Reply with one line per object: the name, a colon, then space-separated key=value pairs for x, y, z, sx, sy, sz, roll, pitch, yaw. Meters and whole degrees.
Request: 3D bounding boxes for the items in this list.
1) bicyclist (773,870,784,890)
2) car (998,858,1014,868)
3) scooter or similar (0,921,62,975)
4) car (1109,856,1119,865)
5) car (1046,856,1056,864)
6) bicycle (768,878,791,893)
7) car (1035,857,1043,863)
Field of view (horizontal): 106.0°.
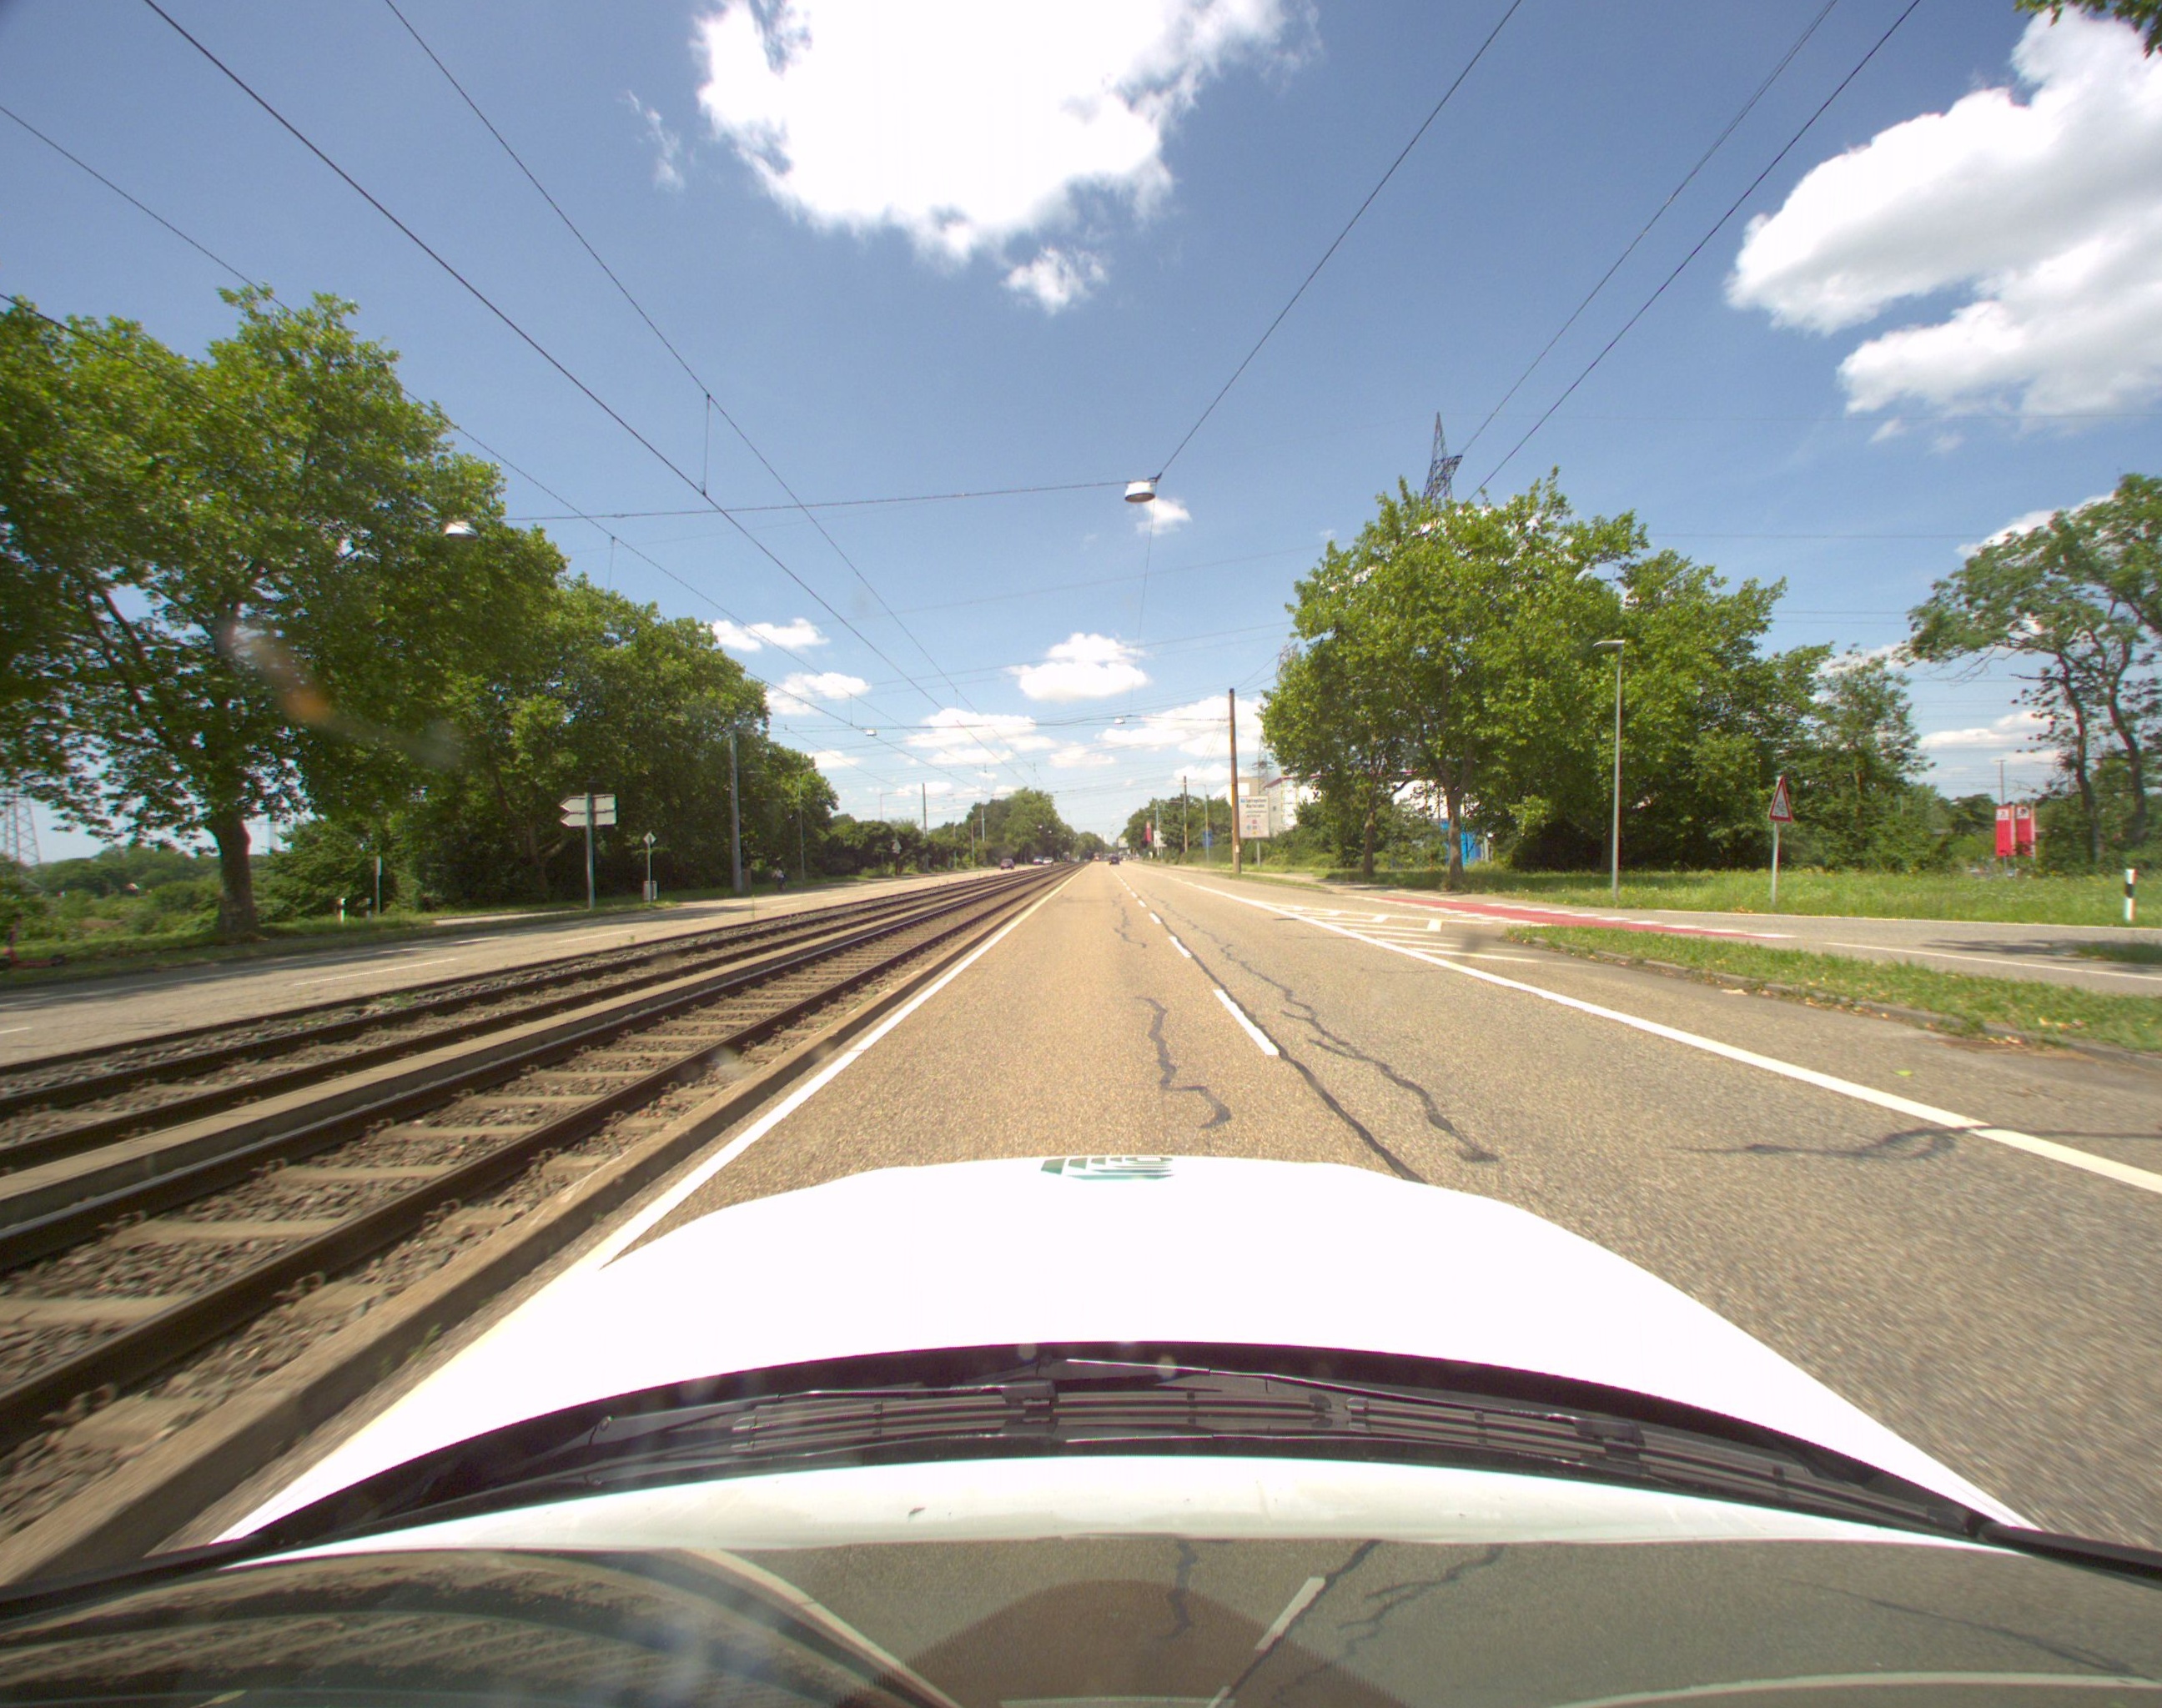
bicyclist: x=-18.943 y=1.622 z=51.011 sx=0.452 sy=1.272 sz=0.398 roll=-2 pitch=0 yaw=3
car: x=-11.317 y=1.393 z=123.341 sx=1.868 sy=1.332 sz=3.919 roll=-3 pitch=0 yaw=2
scooter or similar: x=-22.119 y=1.954 z=17.027 sx=0.297 sy=1.022 sz=0.999 roll=1 pitch=0 yaw=9
car: x=5.712 y=1.120 z=142.015 sx=1.581 sy=1.343 sz=3.272 roll=-2 pitch=1 yaw=0
car: x=-6.103 y=1.242 z=163.489 sx=1.709 sy=1.428 sz=3.902 roll=-2 pitch=0 yaw=2
bicycle: x=-18.917 y=1.987 z=51.132 sx=0.513 sy=0.857 sz=1.933 roll=-2 pitch=0 yaw=4
car: x=-9.592 y=1.348 z=186.327 sx=1.595 sy=1.273 sz=3.838 roll=-2 pitch=0 yaw=2
